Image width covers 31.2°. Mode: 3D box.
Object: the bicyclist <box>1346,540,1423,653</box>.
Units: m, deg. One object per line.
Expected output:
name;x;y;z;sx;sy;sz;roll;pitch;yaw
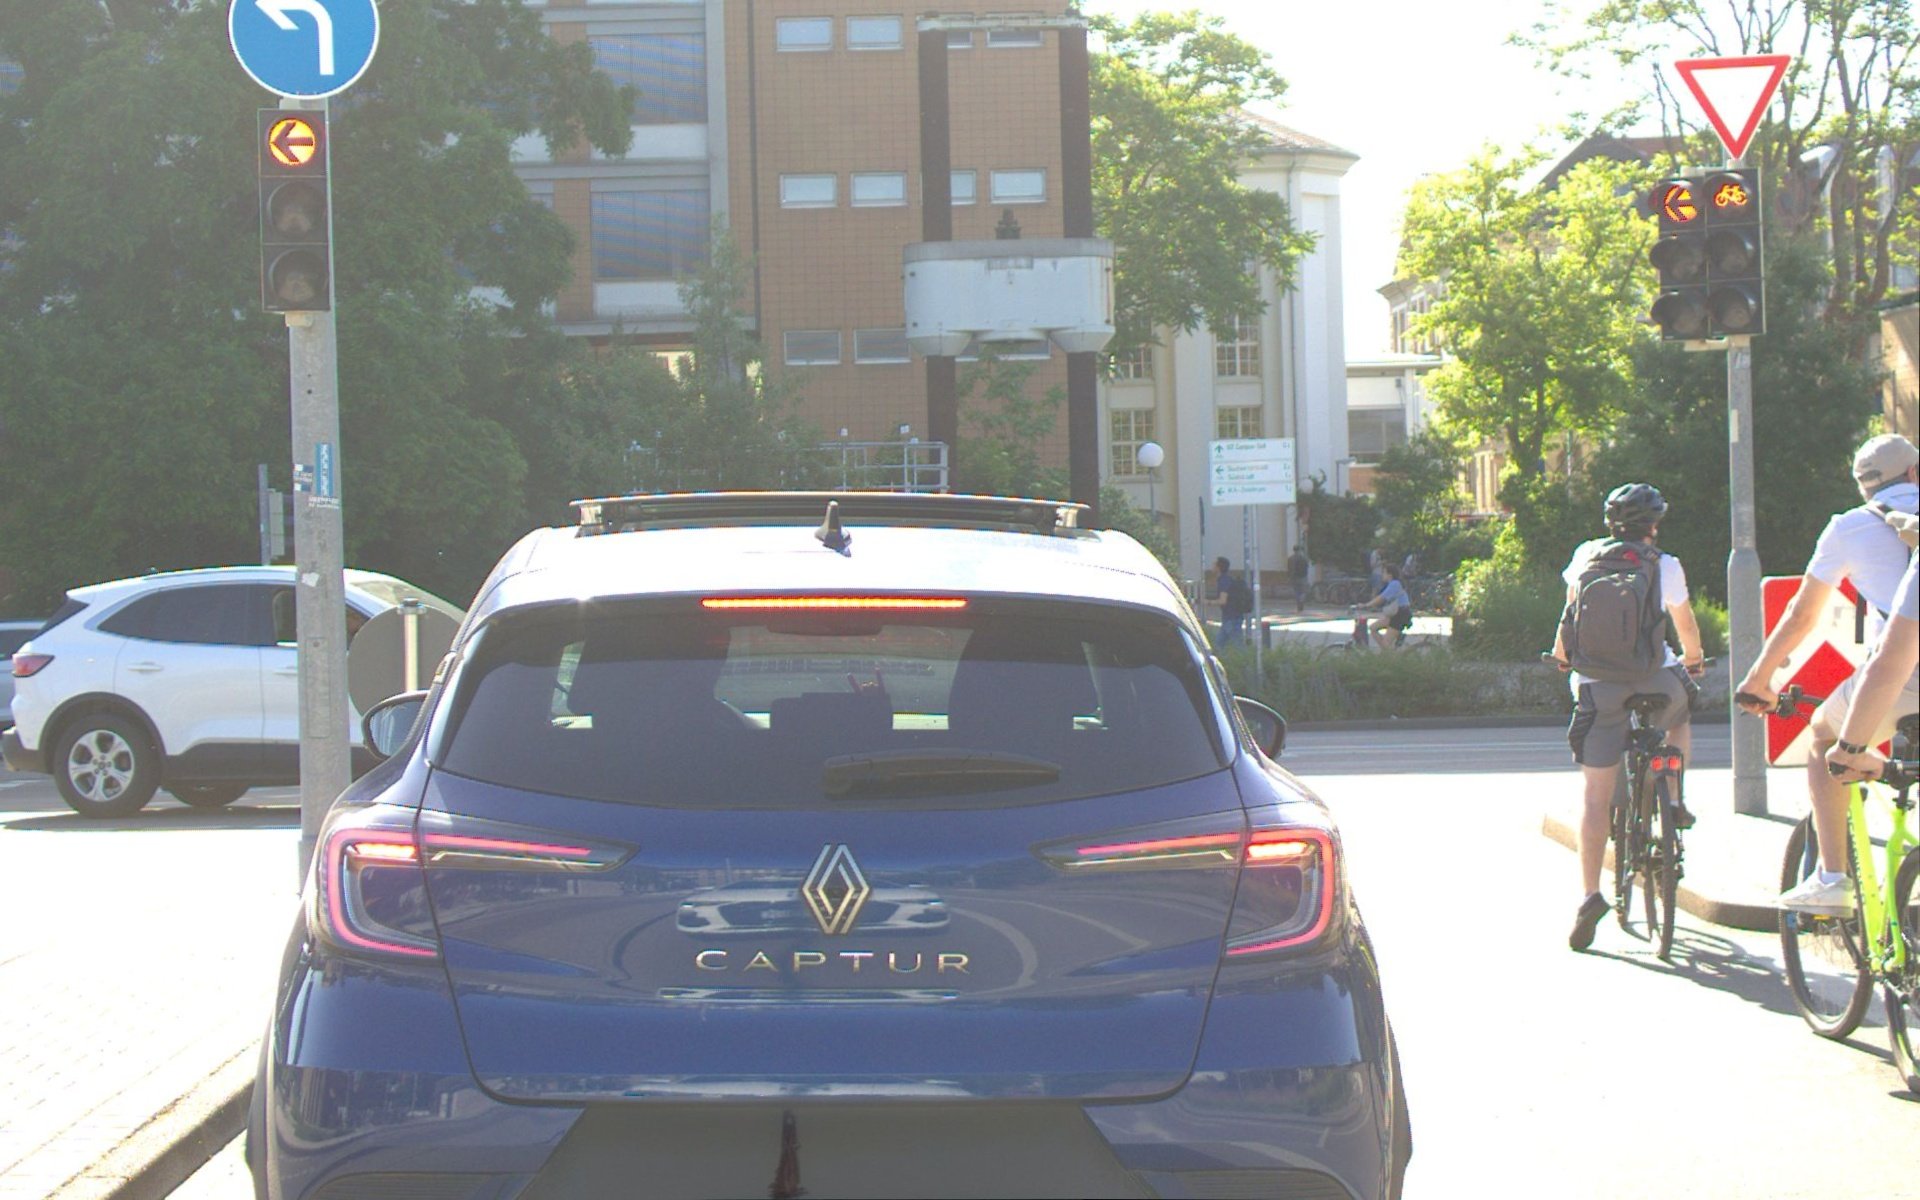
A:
bicyclist;5.434;-0.049;43.999;0.937;1.424;0.598;-1;1;7

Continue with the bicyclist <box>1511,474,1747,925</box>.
bicyclist;2.502;0.355;12.951;0.726;1.623;0.969;1;0;4

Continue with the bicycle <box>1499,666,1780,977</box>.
bicycle;2.505;0.782;12.907;0.739;0.992;2.173;1;1;3

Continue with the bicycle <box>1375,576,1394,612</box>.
bicycle;11.603;-0.171;94.043;0.405;0.969;1.683;1;1;4

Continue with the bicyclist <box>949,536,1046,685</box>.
bicyclist;0.482;0.128;44.017;1.102;1.861;0.653;-1;2;10

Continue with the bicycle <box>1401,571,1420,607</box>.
bicycle;12.371;-0.307;94.409;0.405;0.969;1.683;1;1;4

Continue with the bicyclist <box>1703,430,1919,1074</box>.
bicyclist;2.617;0.407;9.816;0.645;1.733;1.067;1;0;-6

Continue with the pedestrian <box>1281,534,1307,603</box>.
pedestrian;9.018;-0.848;92.900;0.623;1.849;0.563;-1;1;2

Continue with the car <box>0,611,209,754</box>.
car;-11.721;0.998;41.575;4.827;1.626;1.843;-1;1;15

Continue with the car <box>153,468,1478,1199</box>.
car;-0.273;0.614;6.702;1.803;1.626;4.000;0;1;-2

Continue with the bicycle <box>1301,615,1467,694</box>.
bicycle;5.430;0.700;44.009;2.077;0.961;0.598;-1;1;8

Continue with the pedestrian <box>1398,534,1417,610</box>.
pedestrian;12.028;-0.752;92.400;0.475;2.007;0.468;-1;1;6

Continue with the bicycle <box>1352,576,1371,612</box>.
bicycle;10.981;-0.180;94.086;0.405;0.969;1.683;1;1;4

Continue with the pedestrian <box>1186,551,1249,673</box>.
pedestrian;3.426;0.160;45.700;0.737;1.598;0.598;-1;1;12

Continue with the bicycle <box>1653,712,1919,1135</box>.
bicycle;2.607;0.866;9.827;0.659;0.999;1.970;1;1;-6

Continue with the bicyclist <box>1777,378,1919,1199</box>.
bicyclist;2.227;0.396;7.250;0.751;1.663;1.016;1;0;1

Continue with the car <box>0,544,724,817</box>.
car;-4.139;0.568;23.285;4.689;1.614;1.843;-2;-2;12

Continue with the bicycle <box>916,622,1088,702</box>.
bicycle;0.536;0.789;44.012;2.082;0.927;0.696;-2;2;11

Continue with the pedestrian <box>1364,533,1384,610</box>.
pedestrian;10.974;-0.754;91.076;0.475;2.007;0.523;-1;1;6

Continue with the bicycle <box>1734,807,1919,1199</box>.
bicycle;2.223;0.959;7.262;0.740;0.893;1.978;1;1;1
